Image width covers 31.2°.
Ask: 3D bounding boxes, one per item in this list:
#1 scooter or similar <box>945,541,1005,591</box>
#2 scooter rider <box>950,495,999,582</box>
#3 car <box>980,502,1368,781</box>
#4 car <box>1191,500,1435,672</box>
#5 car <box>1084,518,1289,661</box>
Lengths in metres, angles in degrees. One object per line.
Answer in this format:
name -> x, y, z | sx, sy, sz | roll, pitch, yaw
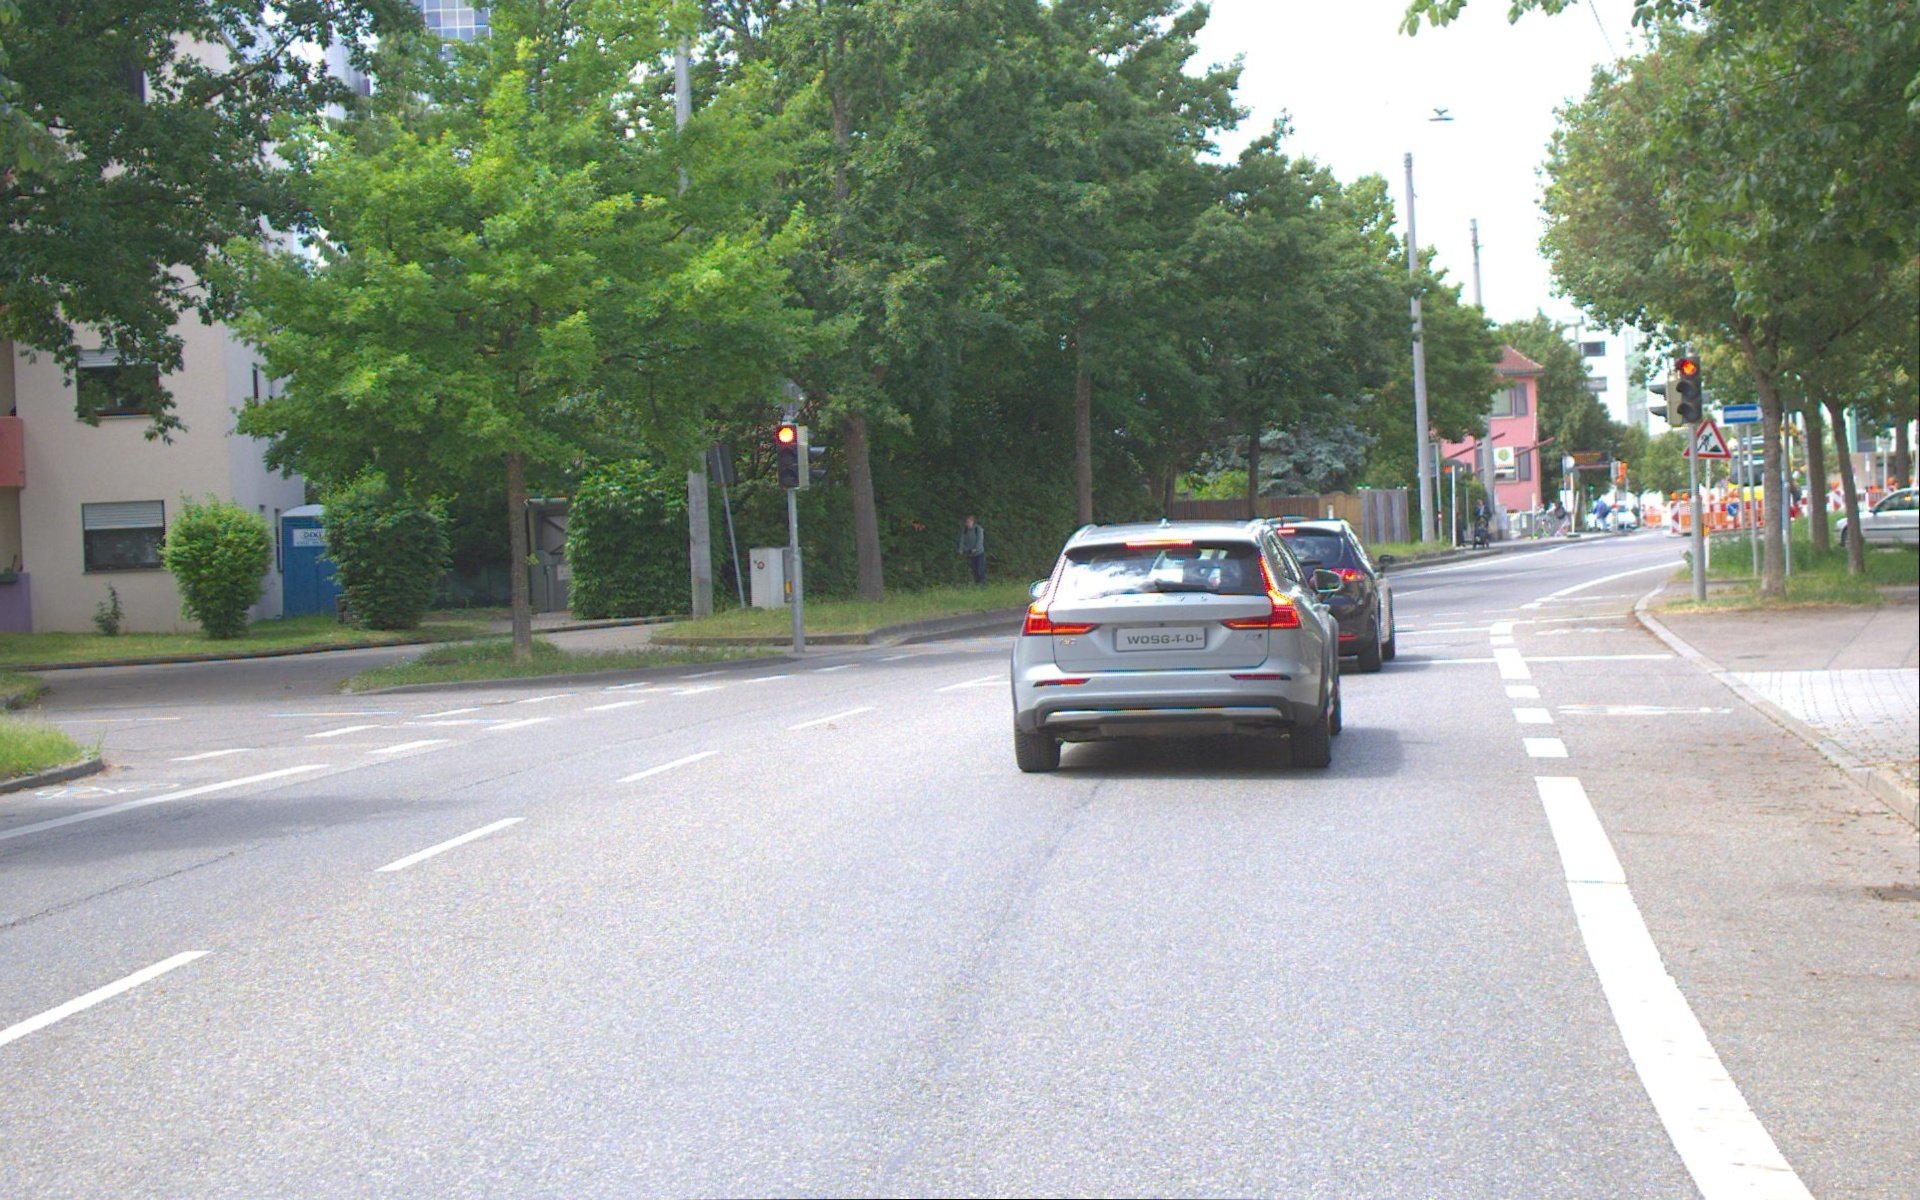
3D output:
scooter or similar -> 0.308, -0.679, 69.107 | 0.952, 0.958, 0.690 | -3, 1, -31
scooter rider -> 0.293, -1.241, 69.108 | 0.705, 1.721, 0.680 | -1, 0, -30
car -> 1.452, 0.180, 21.519 | 1.956, 1.518, 4.328 | -2, 1, 9
car -> 3.472, -0.185, 33.149 | 1.805, 1.518, 4.327 | 1, 2, 13
car -> 2.788, -0.132, 41.453 | 1.805, 1.611, 4.326 | 1, 0, 13
